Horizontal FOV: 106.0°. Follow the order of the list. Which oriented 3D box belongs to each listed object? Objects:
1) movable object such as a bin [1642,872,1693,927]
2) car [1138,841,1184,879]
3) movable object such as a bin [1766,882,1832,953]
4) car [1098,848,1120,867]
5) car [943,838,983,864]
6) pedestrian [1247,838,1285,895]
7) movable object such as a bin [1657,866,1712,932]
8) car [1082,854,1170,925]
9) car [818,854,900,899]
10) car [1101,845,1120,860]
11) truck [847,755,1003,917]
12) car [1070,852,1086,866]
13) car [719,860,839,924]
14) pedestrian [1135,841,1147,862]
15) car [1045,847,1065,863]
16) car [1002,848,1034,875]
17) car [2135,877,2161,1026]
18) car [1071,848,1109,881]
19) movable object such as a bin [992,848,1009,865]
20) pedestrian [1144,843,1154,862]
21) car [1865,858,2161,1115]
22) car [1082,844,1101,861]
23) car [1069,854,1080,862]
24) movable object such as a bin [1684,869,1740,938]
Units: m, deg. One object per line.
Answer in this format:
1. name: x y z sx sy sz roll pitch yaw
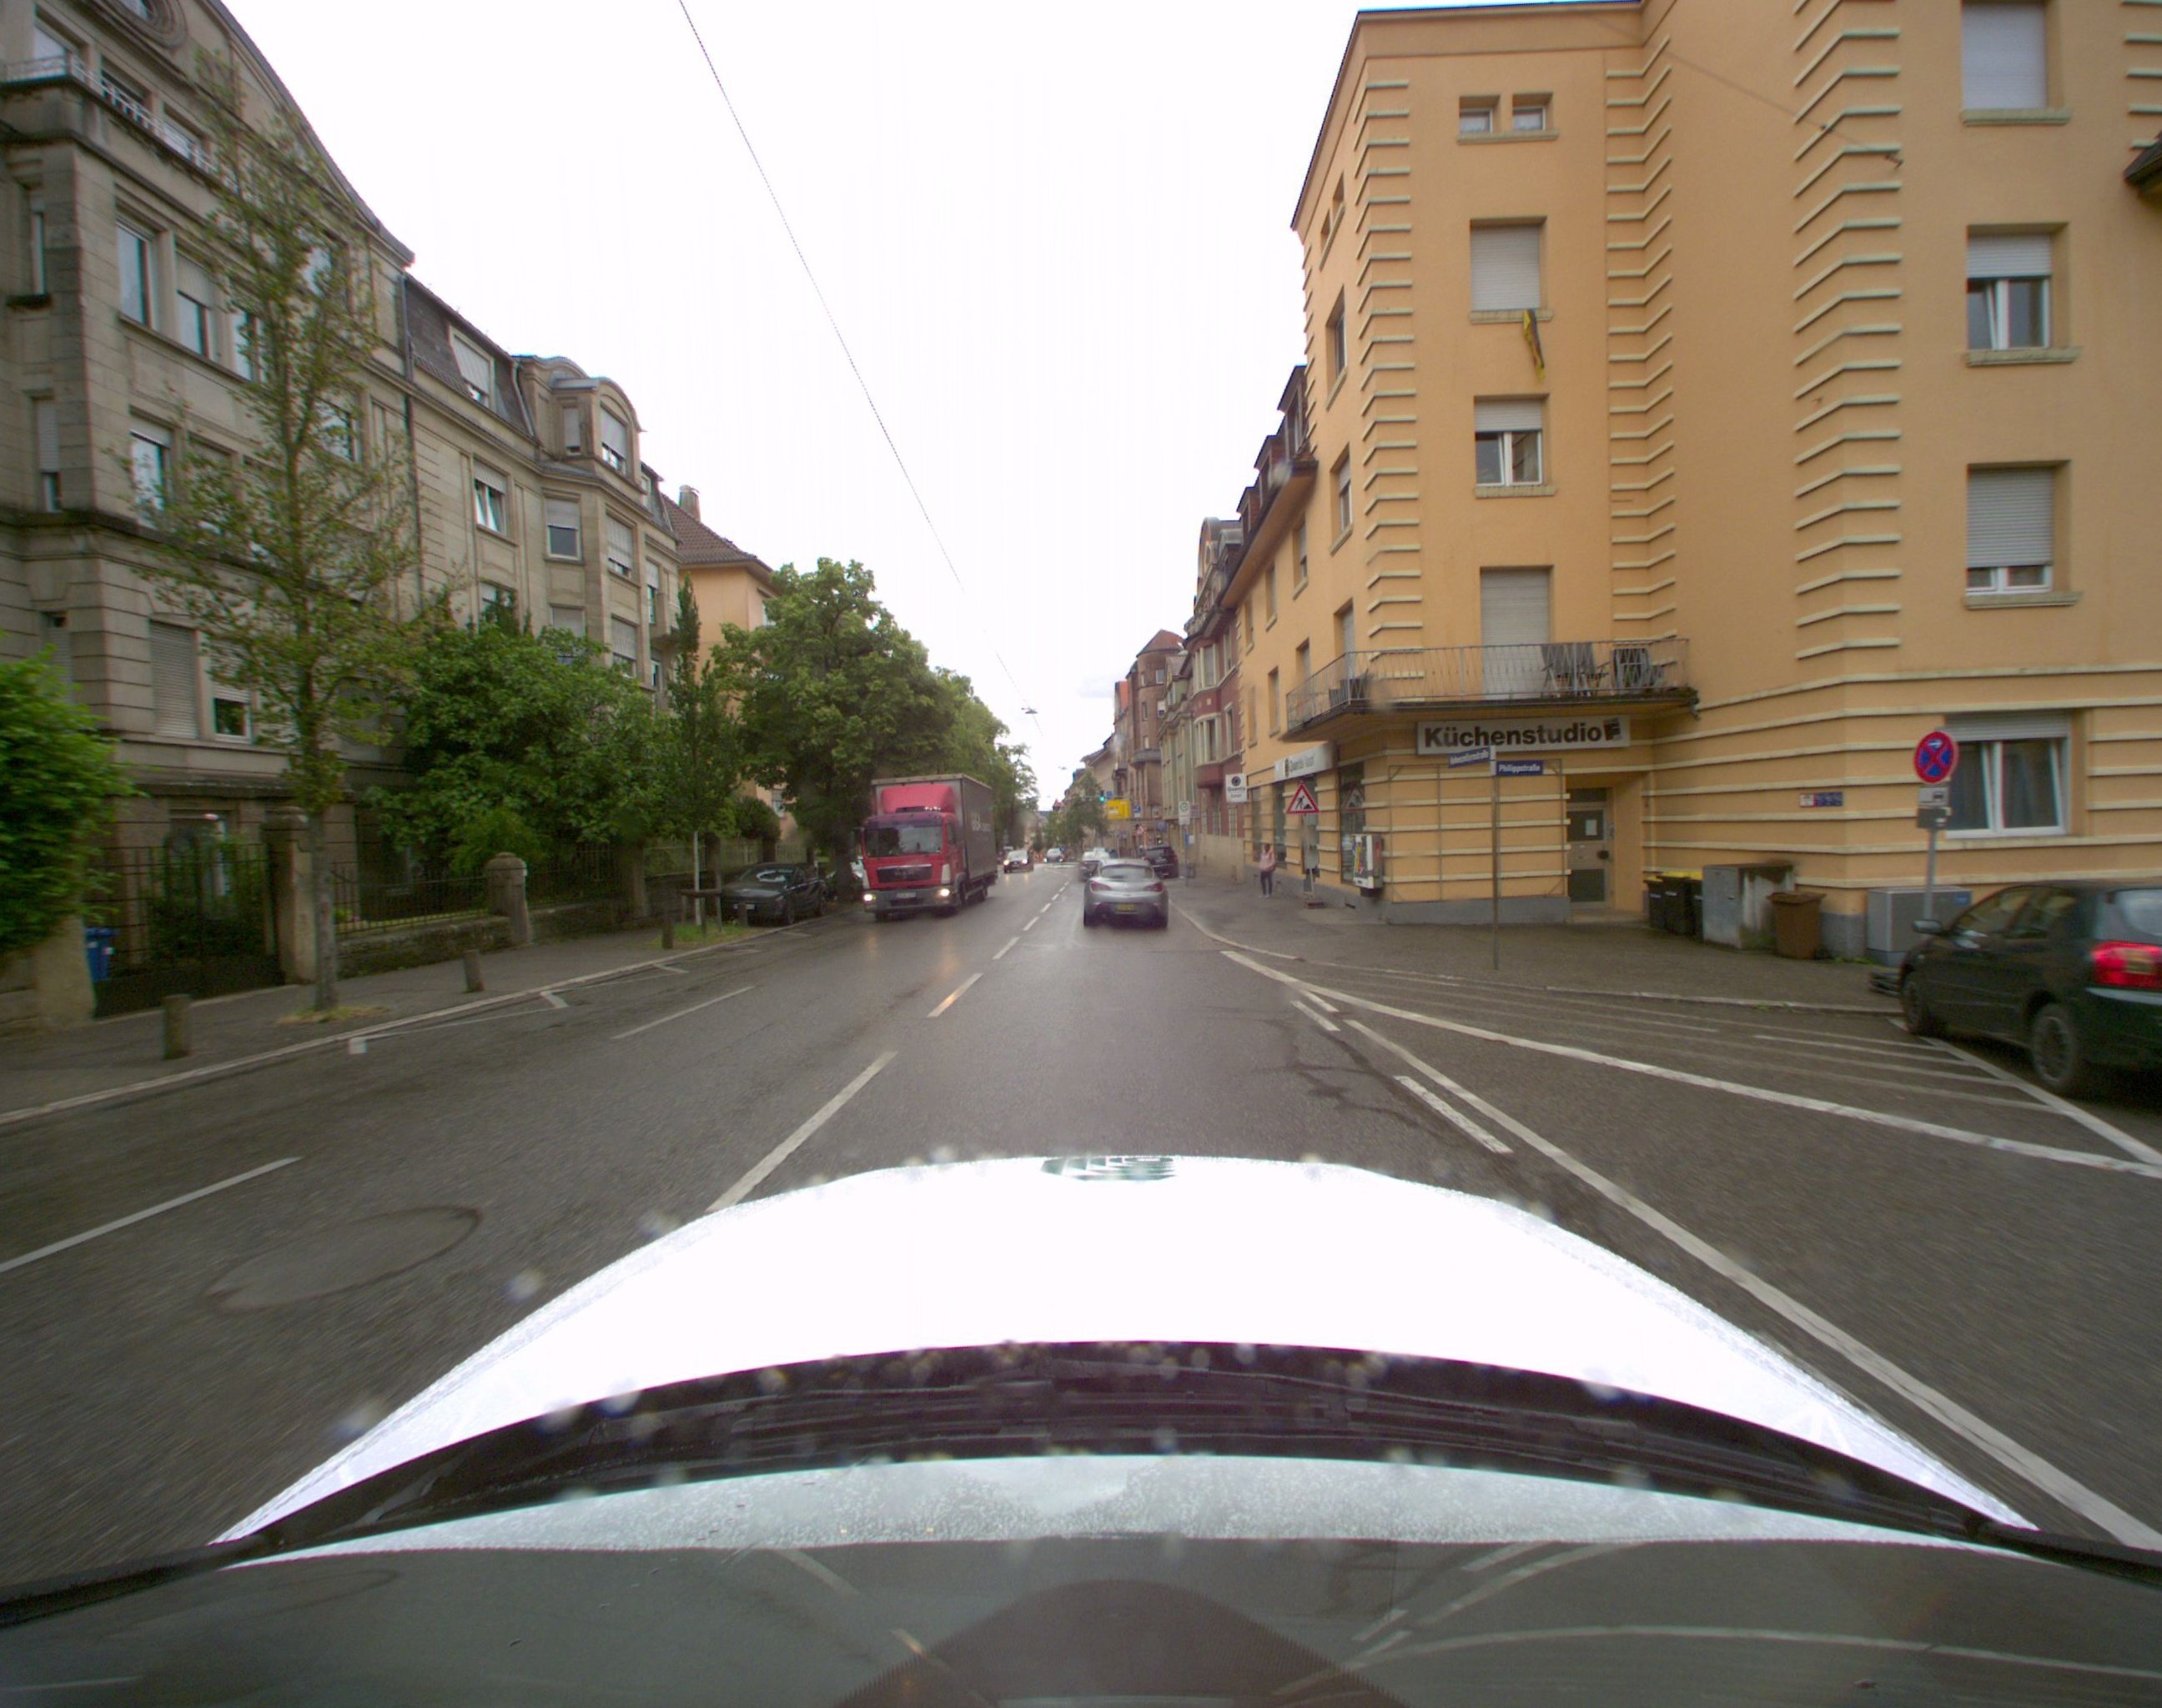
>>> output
1. movable object such as a bin: 10.411 0.796 14.466 0.503 0.918 0.513 0 2 1
2. car: 3.950 0.313 40.667 1.870 1.629 4.699 -5 -1 2
3. movable object such as a bin: 10.359 0.907 11.760 0.503 0.930 0.513 -3 2 2
4. car: 2.370 0.290 68.708 1.765 1.504 3.871 -1 0 2
5. car: -7.474 -0.158 51.962 1.735 1.559 4.304 0 0 2
6. pedestrian: 5.343 0.363 23.547 0.768 1.589 0.708 -2 -1 -18
7. movable object such as a bin: 10.282 0.759 13.893 0.503 1.056 0.513 0 4 1
8. car: 1.026 0.755 18.880 1.804 1.449 3.871 -1 0 3
9. car: -8.198 0.809 30.475 1.735 1.559 4.304 0 0 2
10. car: 3.413 -0.130 95.771 1.654 1.543 3.658 -4 -1 -5
11. truck: -4.312 -0.458 24.823 2.639 3.854 9.307 -4 0 0
12. car: -0.387 0.664 103.195 1.654 1.543 3.658 -4 -1 -5
13. car: -8.179 0.966 22.491 1.736 1.559 4.299 1 0 -1
14. pedestrian: 5.170 -0.192 70.064 0.712 1.774 0.669 -4 1 20
15. car: -2.522 0.118 79.730 1.810 1.517 4.546 -1 0 -1
16. car: -4.270 0.486 55.869 1.766 1.517 4.591 -2 2 0
17. car: 10.861 0.928 6.552 1.686 1.492 3.659 0 -2 31
18. car: 0.485 0.511 39.431 1.765 1.504 3.871 -1 0 2
19. movable object such as a bin: -11.095 0.351 112.539 1.988 2.299 2.814 -3 0 -1
20. pedestrian: 5.794 -0.132 69.799 0.592 1.584 0.669 -4 1 20
21. car: 7.797 0.877 6.199 1.831 1.469 4.135 3 -1 33
22. car: 1.050 -0.170 82.906 1.652 1.543 3.662 -4 -1 -2
23. car: -1.267 0.762 150.022 1.635 1.429 3.370 -2 0 -6
24. movable object such as a bin: 10.241 0.797 13.226 0.503 1.041 0.513 -3 2 2
